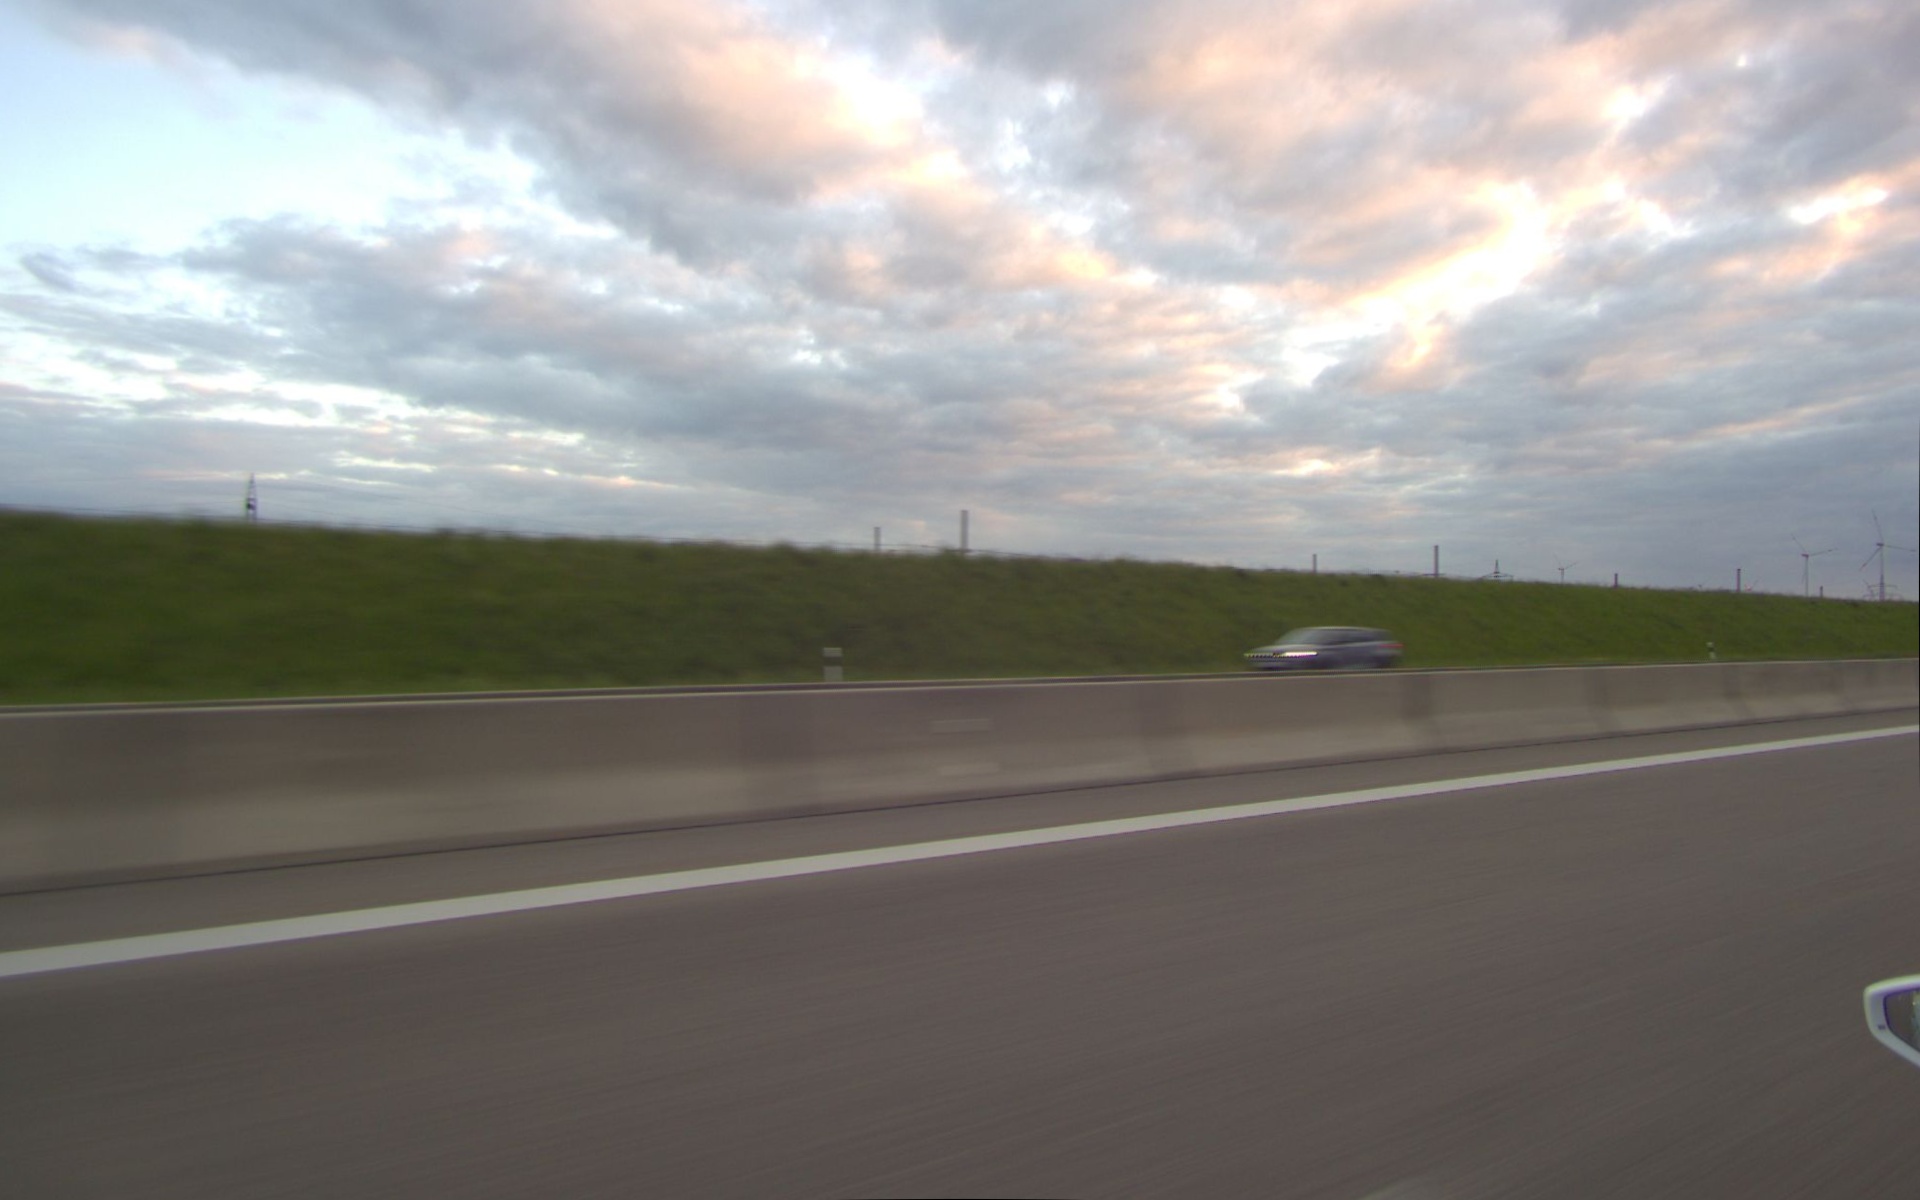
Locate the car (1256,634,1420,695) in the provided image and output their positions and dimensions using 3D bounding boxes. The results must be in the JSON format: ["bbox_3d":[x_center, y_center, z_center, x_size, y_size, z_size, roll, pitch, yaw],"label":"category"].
[{"bbox_3d":[10.475,1.722,27.748,4.529,1.574,1.852,1,-2,-31],"label":"car"}]
